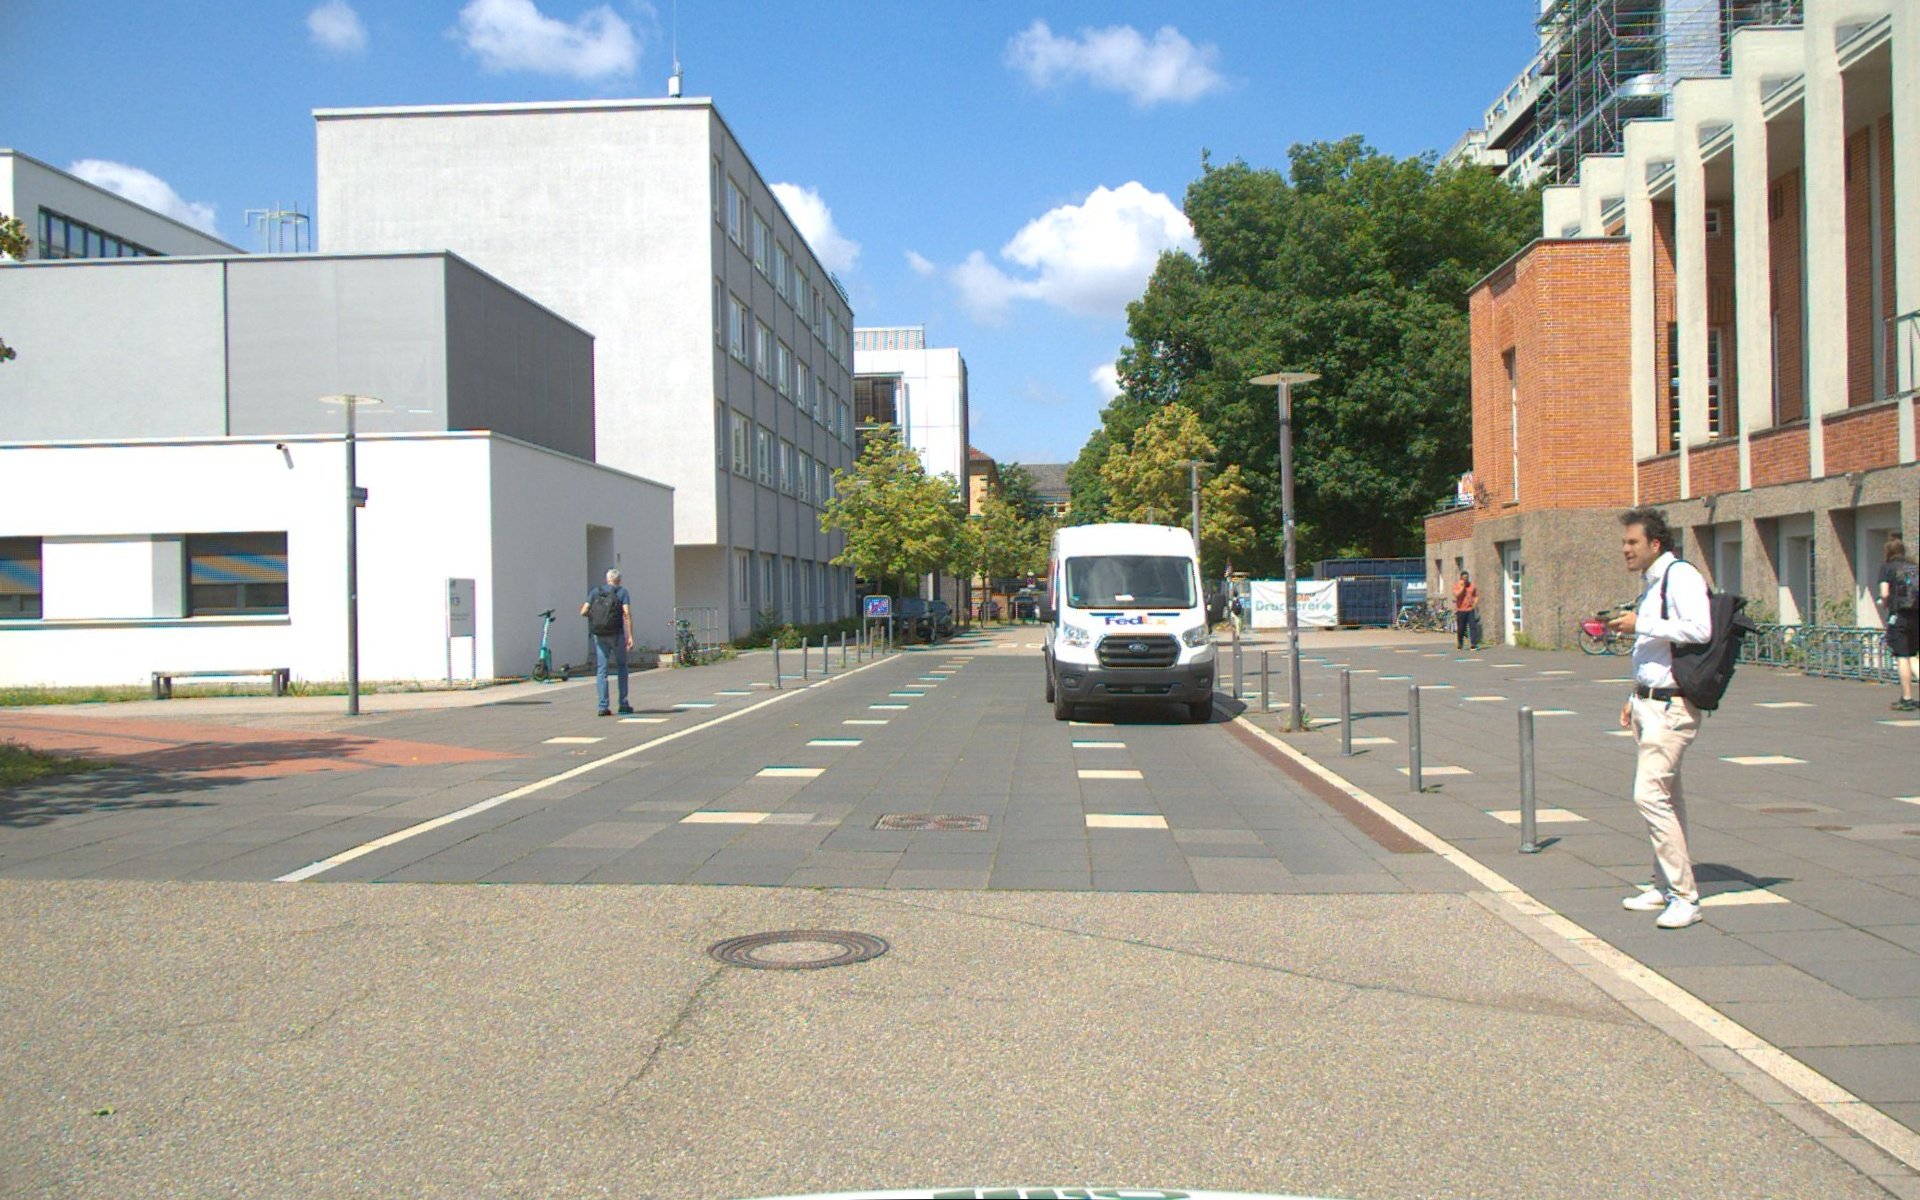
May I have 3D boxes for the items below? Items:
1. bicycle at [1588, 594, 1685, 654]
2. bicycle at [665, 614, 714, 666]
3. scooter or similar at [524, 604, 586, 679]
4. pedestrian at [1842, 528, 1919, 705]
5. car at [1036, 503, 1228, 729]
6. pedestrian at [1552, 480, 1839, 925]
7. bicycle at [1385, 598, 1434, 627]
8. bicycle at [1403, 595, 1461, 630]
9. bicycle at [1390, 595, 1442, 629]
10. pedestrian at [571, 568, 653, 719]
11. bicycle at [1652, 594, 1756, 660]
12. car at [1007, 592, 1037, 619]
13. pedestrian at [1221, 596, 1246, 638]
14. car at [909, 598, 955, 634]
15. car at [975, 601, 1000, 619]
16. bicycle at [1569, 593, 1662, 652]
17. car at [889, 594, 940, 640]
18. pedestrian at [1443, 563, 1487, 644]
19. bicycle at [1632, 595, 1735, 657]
[{"bbox_3d":[13.667,0.481,33.426,1.717,1.170,0.518,-1,0,1],"label":"bicycle"},{"bbox_3d":[-5.977,0.871,36.625,0.531,1.080,1.900,-1,0,8],"label":"bicycle"},{"bbox_3d":[-7.189,0.730,29.398,0.472,1.285,1.314,-1,0,15],"label":"scooter or similar"},{"bbox_3d":[10.404,0.167,18.073,0.827,1.866,1.197,-1,0,-2],"label":"pedestrian"},{"bbox_3d":[2.147,0.182,22.294,2.016,2.588,5.850,-1,0,1],"label":"car"},{"bbox_3d":[3.410,0.441,7.644,1.004,1.880,0.913,-3,0,33],"label":"pedestrian"},{"bbox_3d":[16.235,0.451,59.752,1.636,1.021,0.448,-1,0,3],"label":"bicycle"},{"bbox_3d":[15.793,0.406,55.354,1.768,1.129,0.448,-1,0,3],"label":"bicycle"},{"bbox_3d":[15.824,0.414,57.415,1.666,1.129,0.448,-1,0,3],"label":"bicycle"},{"bbox_3d":[-4.415,0.539,21.079,0.807,1.849,1.144,-1,0,-2],"label":"pedestrian"},{"bbox_3d":[13.261,0.473,29.497,1.648,1.129,0.436,-1,0,1],"label":"bicycle"},{"bbox_3d":[4.624,0.427,124.825,2.130,1.959,5.186,-1,0,1],"label":"car"},{"bbox_3d":[9.090,0.559,54.945,0.682,1.354,0.716,-1,0,0],"label":"pedestrian"},{"bbox_3d":[-1.141,0.651,69.292,1.741,1.486,4.259,0,0,1],"label":"car"},{"bbox_3d":[2.102,0.752,124.915,1.779,1.347,3.769,-1,0,2],"label":"car"},{"bbox_3d":[13.613,0.466,34.356,1.717,1.170,0.436,-1,0,1],"label":"bicycle"},{"bbox_3d":[-1.660,0.612,61.185,1.662,1.591,4.068,-1,0,1],"label":"car"},{"bbox_3d":[11.911,0.085,39.017,0.650,1.866,0.905,-1,0,-7],"label":"pedestrian"},{"bbox_3d":[13.541,0.484,30.987,1.711,1.129,0.436,-1,0,1],"label":"bicycle"}]
